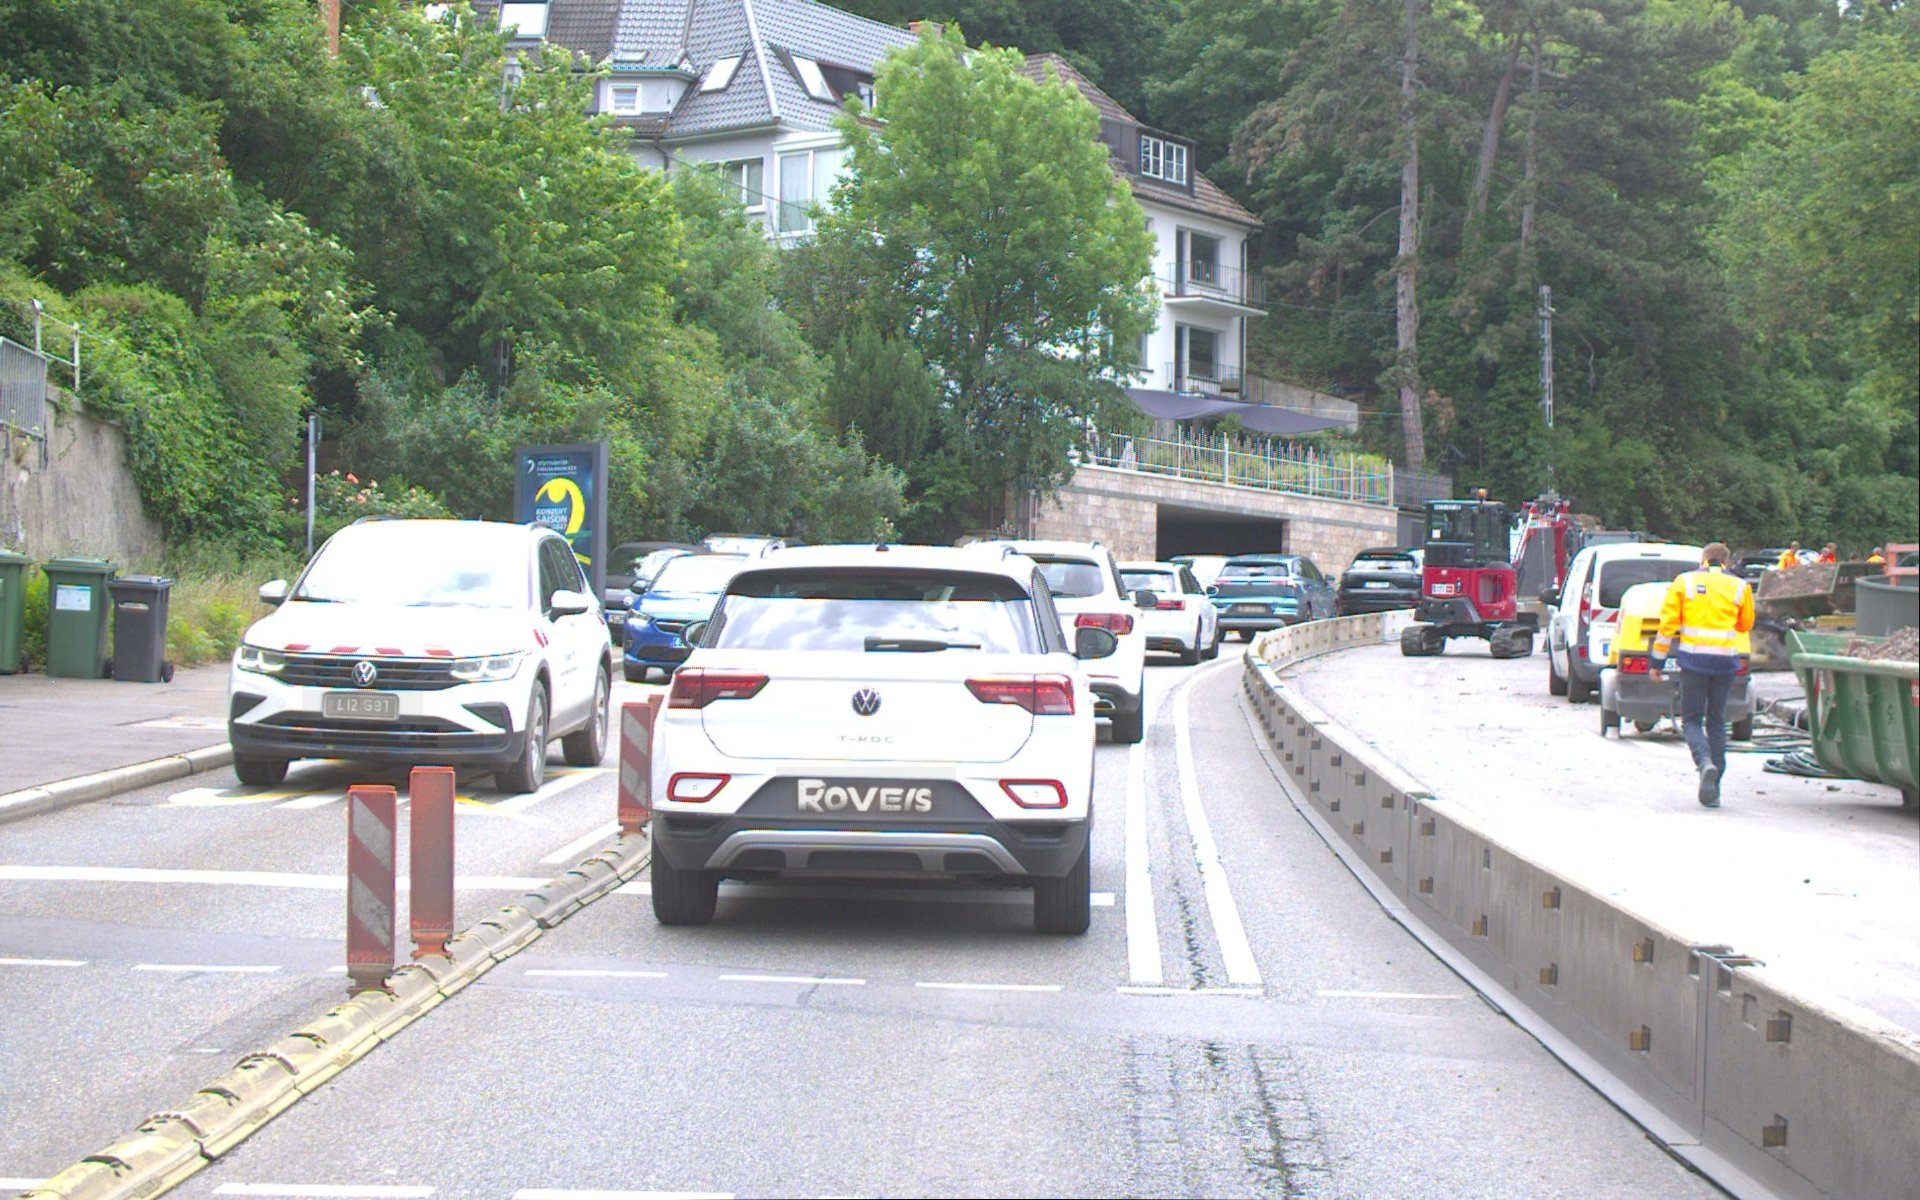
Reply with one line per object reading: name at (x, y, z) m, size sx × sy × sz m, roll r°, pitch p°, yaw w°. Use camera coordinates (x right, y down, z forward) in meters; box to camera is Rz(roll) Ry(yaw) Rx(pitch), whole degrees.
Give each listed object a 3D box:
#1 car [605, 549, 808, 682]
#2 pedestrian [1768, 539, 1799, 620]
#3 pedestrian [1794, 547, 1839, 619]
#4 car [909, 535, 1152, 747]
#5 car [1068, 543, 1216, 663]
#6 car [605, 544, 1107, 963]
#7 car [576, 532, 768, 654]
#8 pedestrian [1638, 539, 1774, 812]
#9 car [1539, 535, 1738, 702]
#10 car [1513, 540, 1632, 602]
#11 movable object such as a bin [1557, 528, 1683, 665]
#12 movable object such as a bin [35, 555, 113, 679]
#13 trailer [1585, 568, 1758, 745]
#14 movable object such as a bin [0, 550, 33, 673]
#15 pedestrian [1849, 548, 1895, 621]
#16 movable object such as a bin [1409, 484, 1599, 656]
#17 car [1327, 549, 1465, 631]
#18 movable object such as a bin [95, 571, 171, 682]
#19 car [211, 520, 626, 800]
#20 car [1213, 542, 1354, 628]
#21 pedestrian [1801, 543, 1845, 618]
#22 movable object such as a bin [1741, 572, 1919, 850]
car at (-2.790, 0.140, 38.534) m, size 1.726 × 1.415 × 3.820 m, roll 0°, pitch 1°, yaw 4°
pedestrian at (19.628, -0.497, 81.959) m, size 0.690 × 1.900 × 0.825 m, roll 1°, pitch 1°, yaw 12°
pedestrian at (20.610, -0.410, 82.729) m, size 0.877 × 1.725 × 0.877 m, roll 1°, pitch 1°, yaw 24°
car at (0.660, 0.293, 28.833) m, size 1.810 × 1.657 × 3.999 m, roll 0°, pitch 1°, yaw 4°
car at (2.672, 0.017, 49.742) m, size 1.810 × 1.657 × 3.999 m, roll 0°, pitch 1°, yaw 8°
car at (-0.310, 0.545, 14.936) m, size 1.810 × 1.526 × 4.000 m, roll 2°, pitch 1°, yaw 3°
car at (-3.946, -0.121, 47.737) m, size 1.795 × 1.505 × 3.999 m, roll 3°, pitch 1°, yaw 7°
pedestrian at (4.797, 0.469, 22.143) m, size 0.645 × 1.696 × 0.850 m, roll 2°, pitch 1°, yaw 2°
car at (7.723, 0.158, 39.457) m, size 1.833 × 1.773 × 4.267 m, roll 1°, pitch 1°, yaw 6°
car at (16.944, -0.819, 95.002) m, size 1.813 × 1.657 × 3.992 m, roll 0°, pitch 1°, yaw 33°
movable object such as a bin at (9.861, -0.085, 51.582) m, size 1.702 × 1.936 × 4.163 m, roll 1°, pitch 1°, yaw 10°
movable object such as a bin at (-7.741, 0.141, 30.041) m, size 0.468 × 1.050 × 0.624 m, roll 3°, pitch 1°, yaw 1°
trailer at (6.488, 0.472, 31.579) m, size 1.289 × 1.470 × 3.633 m, roll 1°, pitch 1°, yaw 8°
movable object such as a bin at (-8.452, 0.092, 30.075) m, size 0.468 × 1.050 × 0.624 m, roll 3°, pitch 1°, yaw 1°
pedestrian at (21.374, -0.365, 80.581) m, size 0.784 × 1.682 × 0.783 m, roll 1°, pitch 1°, yaw 40°
movable object such as a bin at (8.949, -0.510, 56.219) m, size 2.214 × 2.653 × 4.940 m, roll 2°, pitch 1°, yaw 19°
car at (9.165, -0.230, 72.076) m, size 1.812 × 1.657 × 3.995 m, roll 0°, pitch 1°, yaw 24°
movable object such as a bin at (-7.226, 0.229, 30.048) m, size 0.468 × 0.931 × 0.624 m, roll 3°, pitch 1°, yaw 1°
car at (-3.350, 0.310, 22.081) m, size 1.842 × 1.594 × 4.263 m, roll 1°, pitch 1°, yaw 2°
car at (5.866, -0.291, 61.977) m, size 1.795 × 1.505 × 3.997 m, roll 0°, pitch 1°, yaw 16°
pedestrian at (20.987, -0.484, 83.601) m, size 0.877 × 1.816 × 0.877 m, roll 1°, pitch 1°, yaw 24°
movable object such as a bin at (6.661, 0.664, 20.413) m, size 2.374 × 1.556 × 7.100 m, roll 2°, pitch 1°, yaw 0°
